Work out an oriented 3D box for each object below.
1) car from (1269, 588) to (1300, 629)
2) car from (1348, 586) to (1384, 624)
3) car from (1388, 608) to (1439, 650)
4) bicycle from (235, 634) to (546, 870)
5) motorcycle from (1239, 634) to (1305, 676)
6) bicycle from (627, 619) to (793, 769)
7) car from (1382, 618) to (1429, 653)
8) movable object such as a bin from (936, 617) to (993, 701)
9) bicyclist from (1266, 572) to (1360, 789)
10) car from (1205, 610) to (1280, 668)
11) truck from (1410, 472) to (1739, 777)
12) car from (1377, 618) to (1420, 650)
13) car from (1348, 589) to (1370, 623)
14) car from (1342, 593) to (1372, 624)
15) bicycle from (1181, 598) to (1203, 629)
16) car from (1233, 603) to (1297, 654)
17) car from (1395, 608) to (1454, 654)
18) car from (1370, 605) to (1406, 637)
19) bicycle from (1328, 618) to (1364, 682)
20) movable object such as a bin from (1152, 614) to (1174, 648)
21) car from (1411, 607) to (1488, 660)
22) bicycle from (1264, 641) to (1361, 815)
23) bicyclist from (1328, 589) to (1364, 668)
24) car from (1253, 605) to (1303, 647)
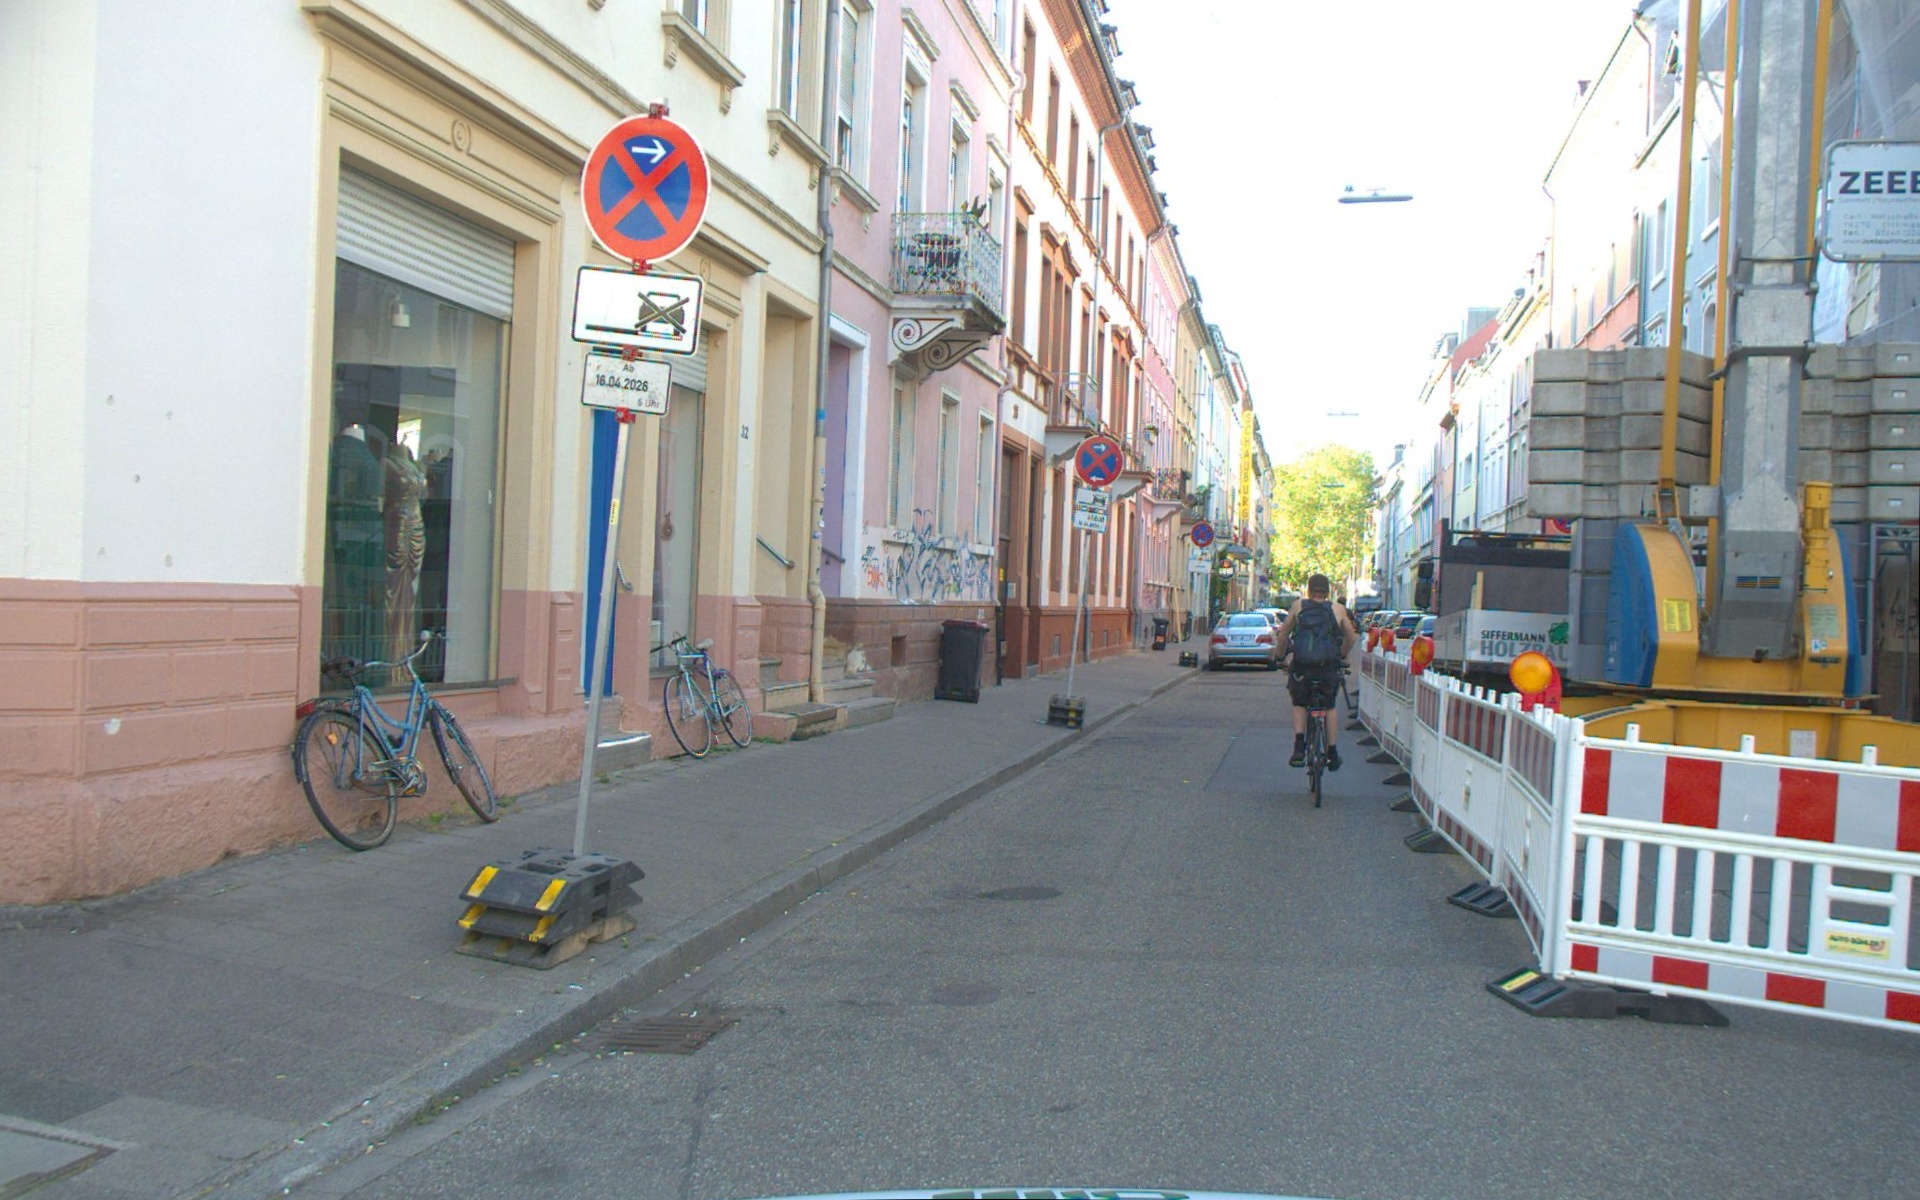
[{"bbox_3d":[20.656,0.509,105.466,1.869,2.540,4.169,1,0,10],"label":"car"},{"bbox_3d":[28.359,0.365,115.594,2.258,2.582,6.775,0,-1,12],"label":"car"},{"bbox_3d":[17.505,1.095,64.004,1.674,1.583,4.003,0,-1,12],"label":"car"},{"bbox_3d":[-2.923,0.734,8.716,0.591,1.040,1.819,6,0,13],"label":"bicycle"},{"bbox_3d":[10.584,1.864,56.133,2.105,1.383,0.539,-1,0,-6],"label":"motorcycle"},{"bbox_3d":[-1.959,0.707,13.223,0.609,1.040,1.819,5,1,13],"label":"bicycle"},{"bbox_3d":[18.595,1.471,69.111,1.674,1.407,4.003,0,-1,12],"label":"car"},{"bbox_3d":[0.068,0.763,21.646,0.592,1.053,0.597,3,0,11],"label":"movable object such as a bin"},{"bbox_3d":[2.839,0.622,13.303,0.687,1.662,1.091,1,-1,12],"label":"bicyclist"},{"bbox_3d":[7.252,0.966,42.218,1.674,1.407,4.509,0,-1,12],"label":"car"},{"bbox_3d":[7.026,0.254,19.947,2.605,2.863,7.399,3,0,13],"label":"truck"},{"bbox_3d":[19.732,1.521,74.448,1.674,1.407,4.003,0,-1,12],"label":"car"},{"bbox_3d":[45.014,0.681,186.640,2.258,3.834,6.775,0,-1,12],"label":"car"},{"bbox_3d":[33.707,0.715,140.577,2.258,2.582,6.775,0,-1,12],"label":"car"},{"bbox_3d":[8.623,0.491,61.365,0.580,1.107,2.080,3,0,13],"label":"bicycle"},{"bbox_3d":[9.721,0.877,52.543,1.674,1.407,4.359,2,1,14],"label":"car"},{"bbox_3d":[16.389,1.079,58.477,1.778,1.548,4.003,0,-1,12],"label":"car"},{"bbox_3d":[21.695,1.047,83.847,1.586,1.577,4.003,0,-1,12],"label":"car"},{"bbox_3d":[8.160,1.029,35.027,0.687,1.229,2.344,1,1,12],"label":"bicycle"},{"bbox_3d":[5.950,0.897,48.498,0.532,0.961,0.487,3,0,13],"label":"movable object such as a bin"},{"bbox_3d":[14.228,0.963,48.294,1.778,1.464,4.794,0,-1,12],"label":"car"},{"bbox_3d":[2.872,0.976,13.446,0.687,1.229,2.344,1,0,12],"label":"bicycle"},{"bbox_3d":[8.165,0.589,34.999,0.687,1.633,0.813,1,1,12],"label":"bicyclist"},{"bbox_3d":[11.411,0.922,59.233,1.636,1.467,4.168,0,-1,12],"label":"car"}]
